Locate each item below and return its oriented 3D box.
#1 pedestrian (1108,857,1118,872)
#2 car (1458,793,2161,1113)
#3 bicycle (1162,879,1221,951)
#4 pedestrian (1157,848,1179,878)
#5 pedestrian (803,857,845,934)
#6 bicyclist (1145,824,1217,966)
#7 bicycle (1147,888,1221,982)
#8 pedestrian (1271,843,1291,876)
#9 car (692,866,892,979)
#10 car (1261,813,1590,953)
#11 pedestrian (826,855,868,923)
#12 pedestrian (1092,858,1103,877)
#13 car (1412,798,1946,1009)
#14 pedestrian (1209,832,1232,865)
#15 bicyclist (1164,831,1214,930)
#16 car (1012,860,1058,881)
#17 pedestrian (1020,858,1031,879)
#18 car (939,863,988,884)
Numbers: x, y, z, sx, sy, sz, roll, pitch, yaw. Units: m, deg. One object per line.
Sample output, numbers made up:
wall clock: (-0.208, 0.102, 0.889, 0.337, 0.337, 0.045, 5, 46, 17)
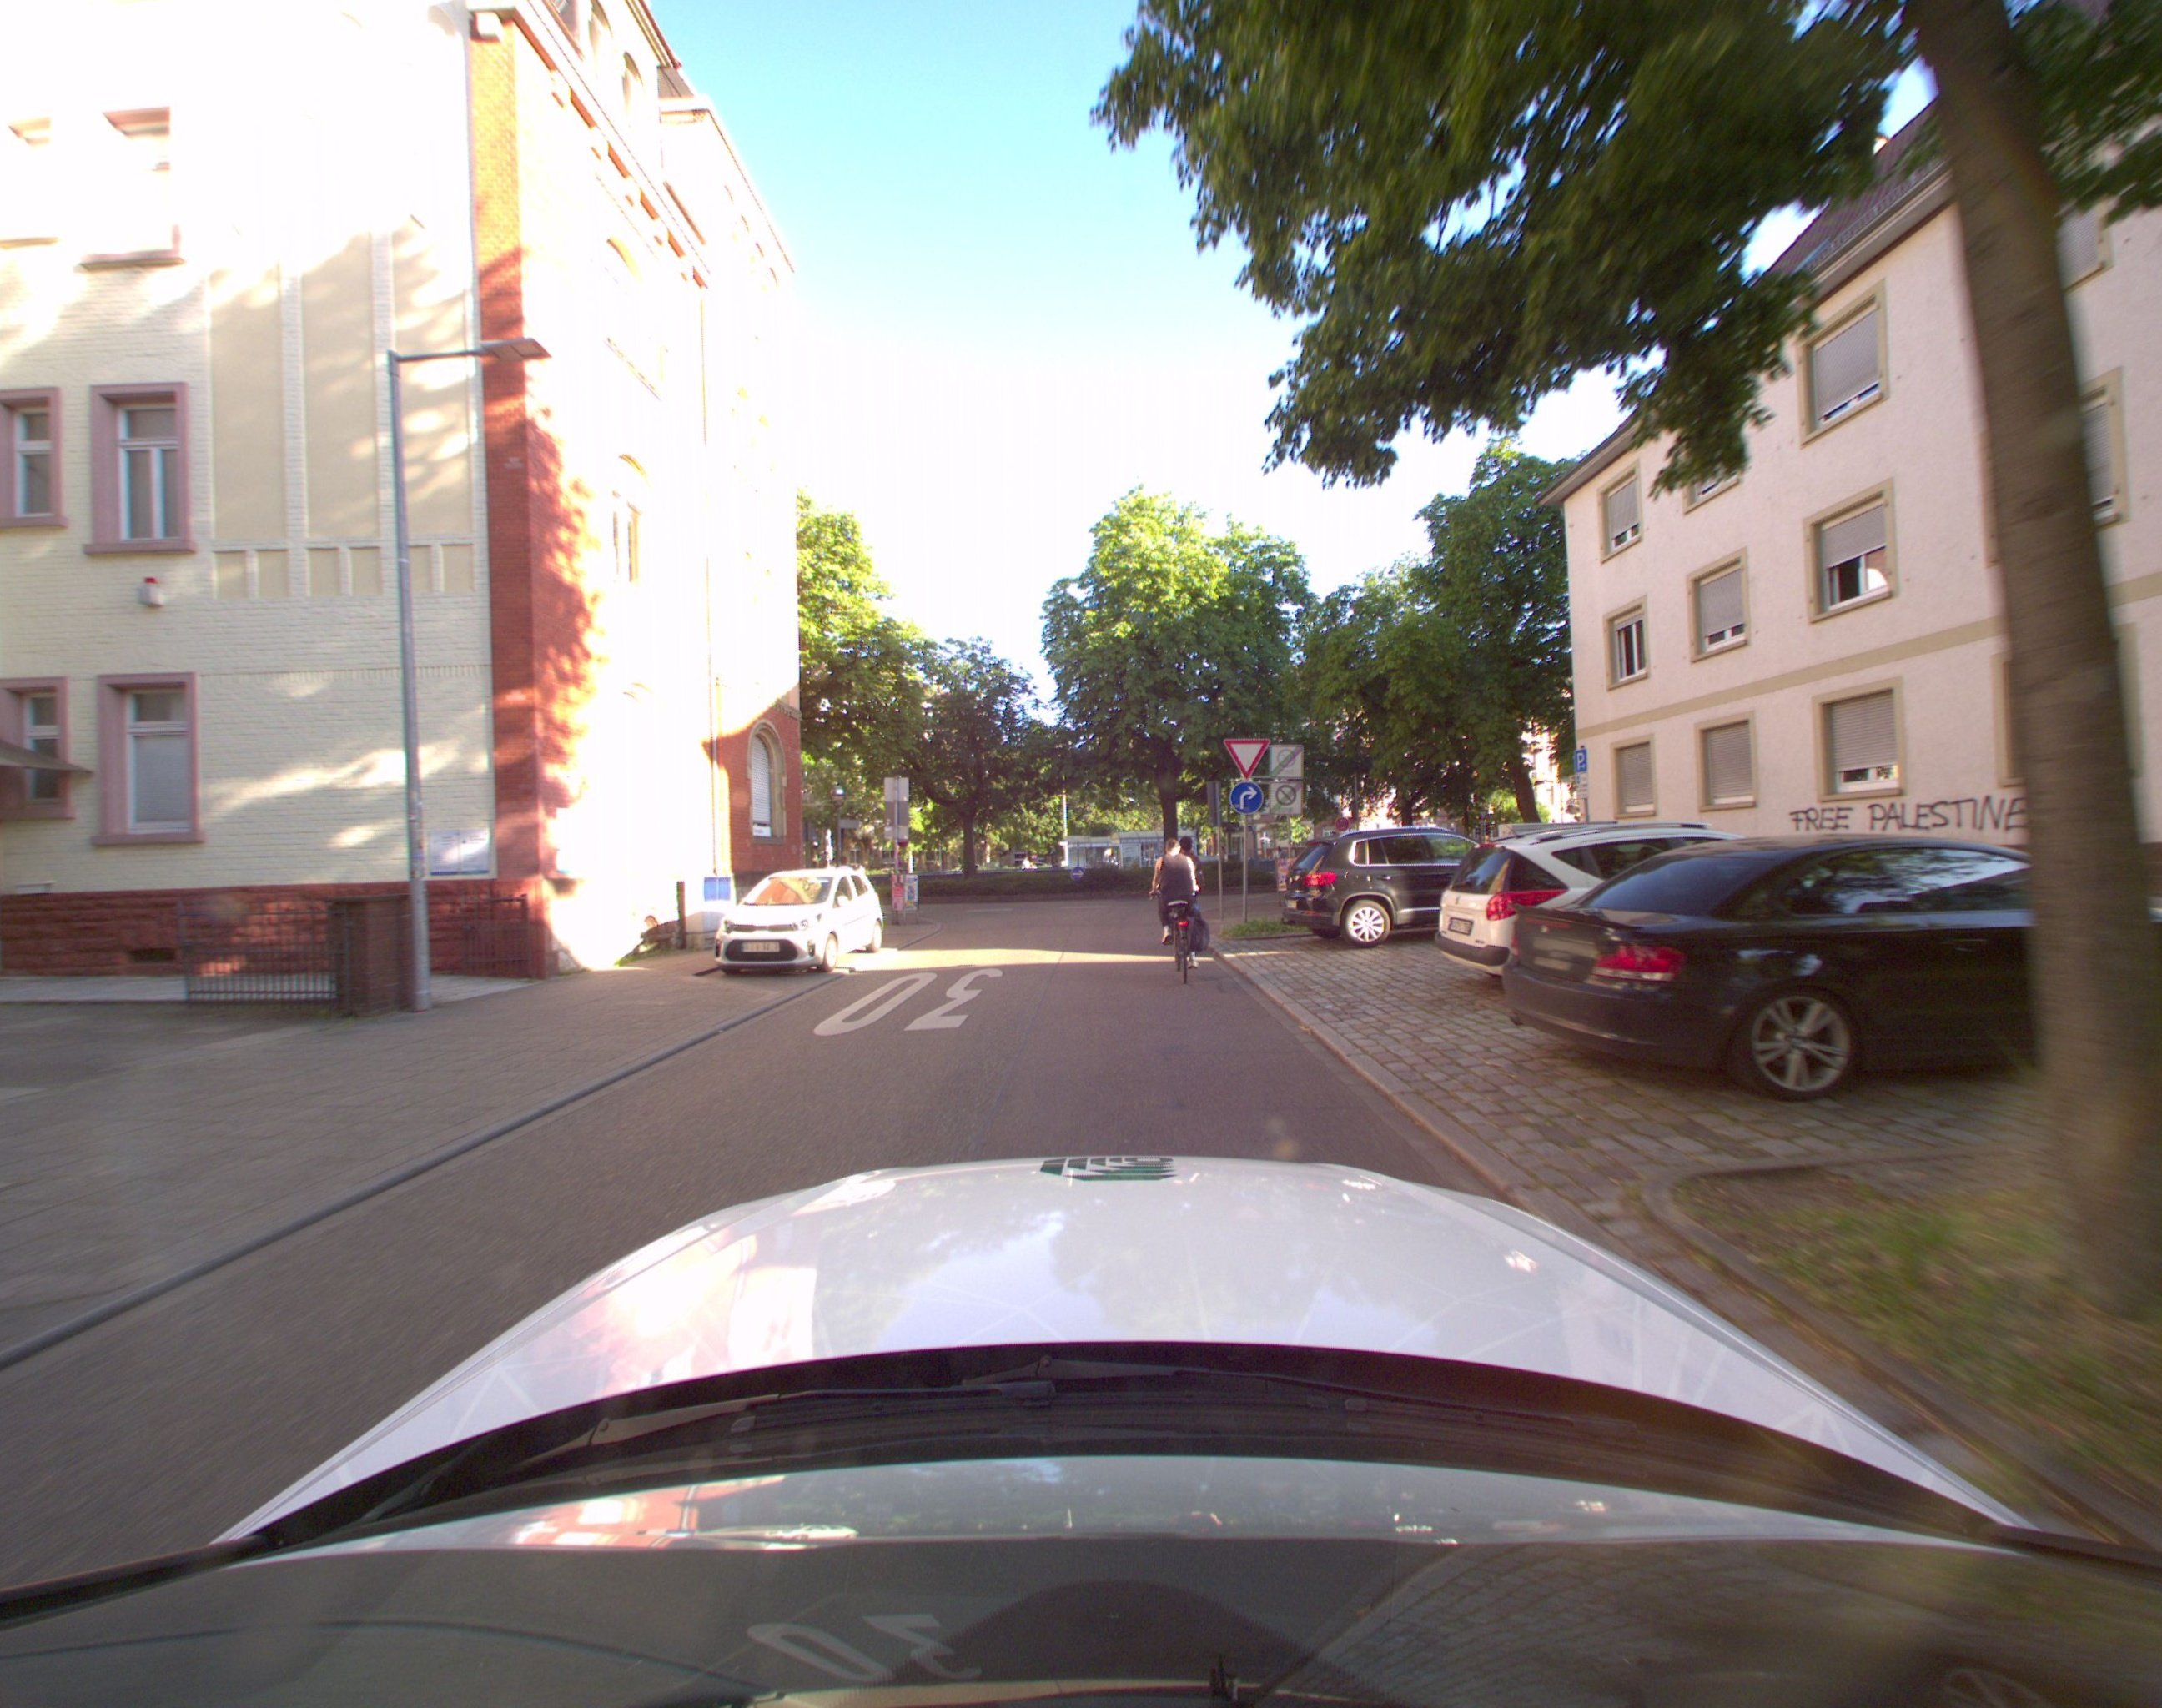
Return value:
pedestrian: (3.542, 1.157, 89.521, 0.997, 1.630, 1.064, -2, -1, 0)
car: (4.858, 0.482, 5.103, 4.090, 1.412, 1.793, -5, -1, 1)
bicycle: (1.755, 0.939, 13.222, 0.671, 1.054, 2.061, -2, -2, 1)
pedestrian: (5.484, 0.565, 51.186, 1.020, 1.897, 0.906, -2, -1, -21)
pedestrian: (-5.539, 0.875, 17.604, 0.598, 1.605, 0.854, -2, -1, -1)
bicyclist: (1.241, 0.498, 10.270, 0.749, 1.682, 0.913, -2, -1, 1)
bicycle: (1.262, 0.966, 10.329, 0.735, 1.012, 2.062, 0, -1, 1)
pedestrian: (10.294, 0.274, 41.900, 0.910, 1.684, 0.782, -2, -1, 11)
car: (-4.341, 0.953, 12.895, 1.699, 1.485, 3.798, 0, 0, 2)
car: (5.067, 0.390, 12.396, 4.097, 1.712, 2.022, -3, 0, -4)
pedestrian: (-5.875, 0.865, 20.523, 0.867, 1.643, 0.858, -2, -1, -9)
pedestrian: (1.394, 1.141, 69.350, 0.809, 1.543, 0.818, 0, -1, -10)
car: (5.298, 0.431, 7.663, 3.676, 1.651, 1.706, -2, -1, 4)
pedestrian: (7.417, -0.288, 43.383, 0.887, 1.684, 0.825, -3, -1, 35)
bicyclist: (1.735, 0.428, 13.175, 0.668, 1.514, 1.070, -2, -2, 3)
car: (-4.450, 1.593, 78.606, 4.006, 1.871, 1.984, -2, 0, -24)
pedestrian: (-4.574, 1.189, 66.882, 0.704, 1.695, 0.666, 0, -1, -21)
car: (-10.720, 1.766, 74.549, 3.971, 1.679, 1.930, -2, -1, -42)
